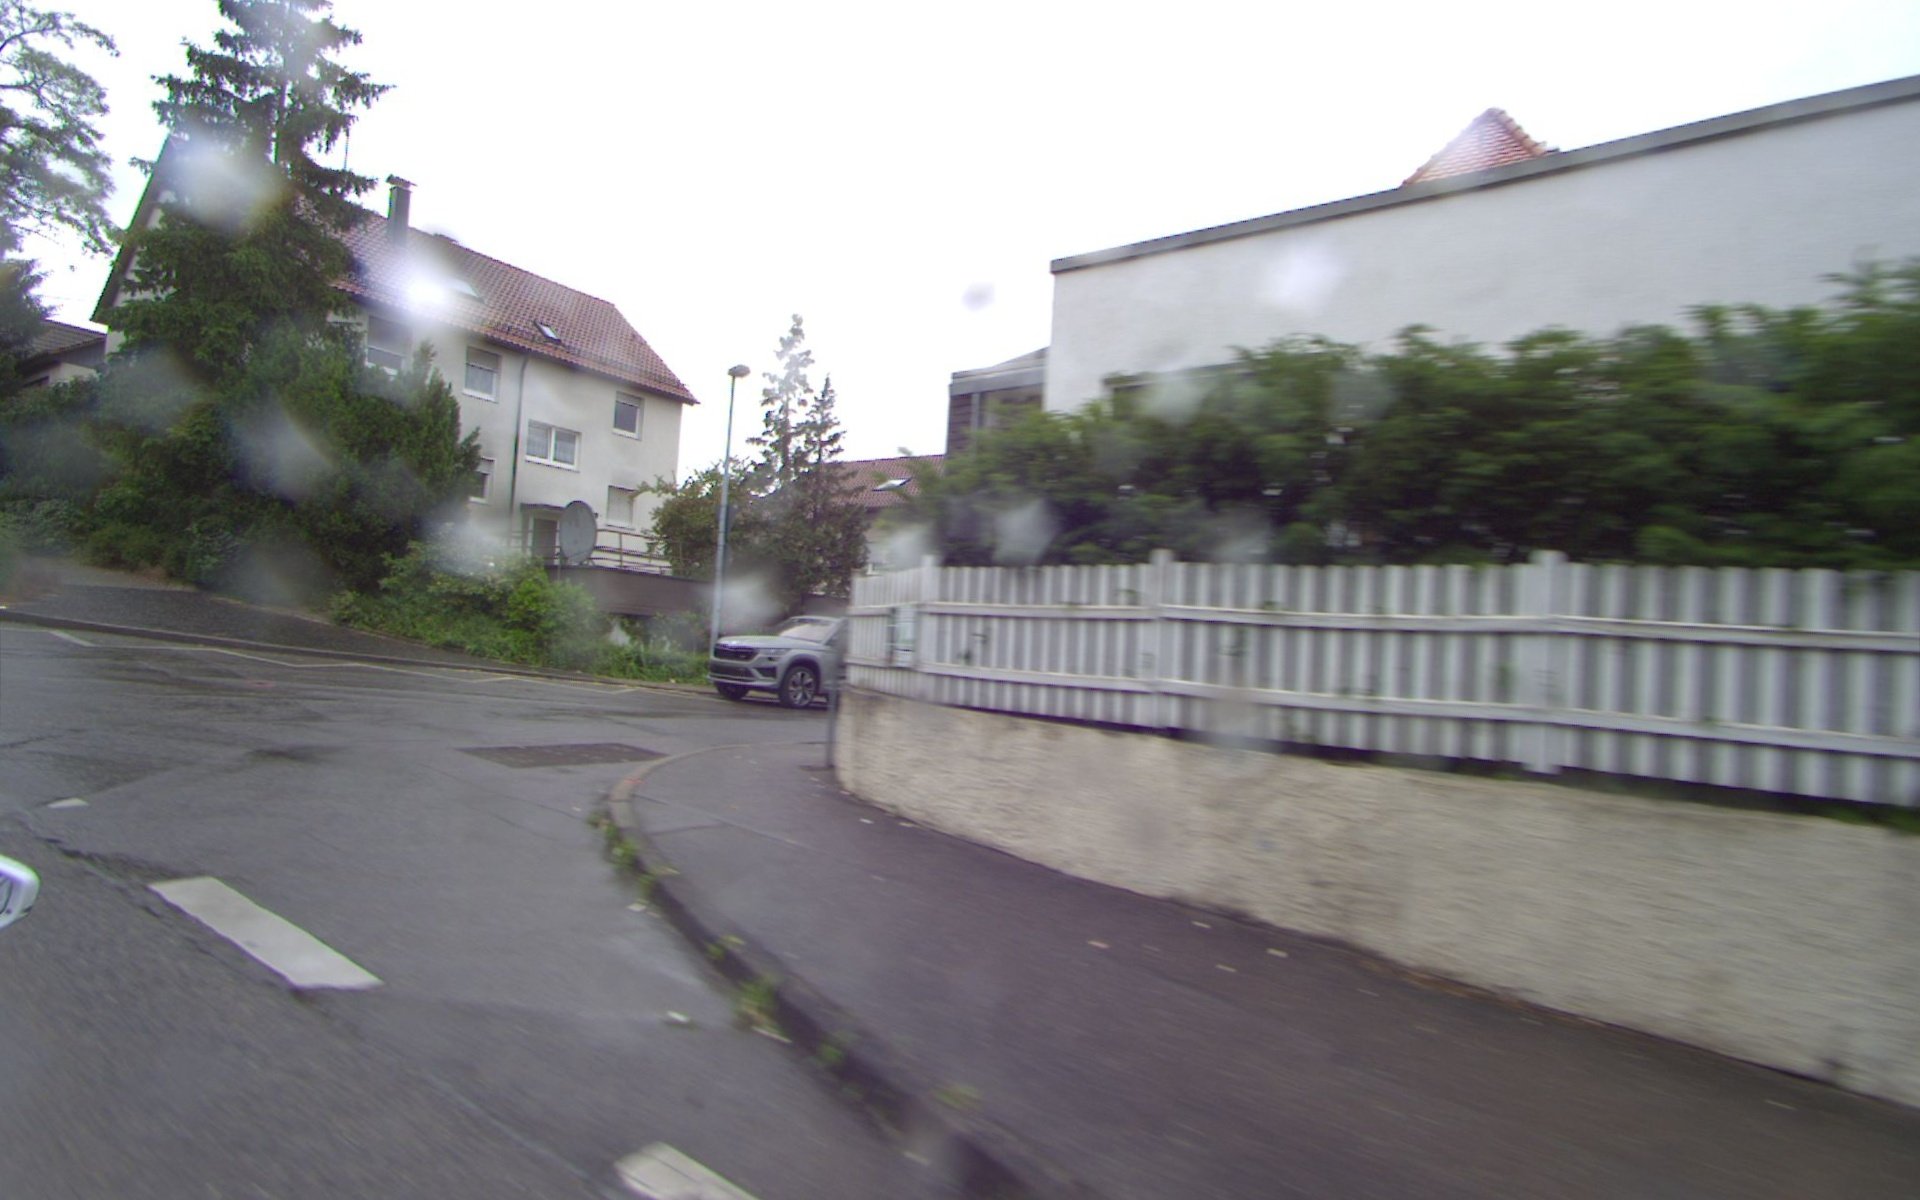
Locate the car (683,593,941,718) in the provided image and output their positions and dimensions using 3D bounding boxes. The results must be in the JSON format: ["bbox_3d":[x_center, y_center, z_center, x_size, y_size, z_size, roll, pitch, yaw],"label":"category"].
[{"bbox_3d":[-2.508,1.070,18.170,1.894,1.667,4.442,3,-7,37],"label":"car"}]

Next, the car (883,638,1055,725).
[{"bbox_3d":[0.297,1.846,22.158,1.622,1.453,3.993,3,-7,37],"label":"car"}]
